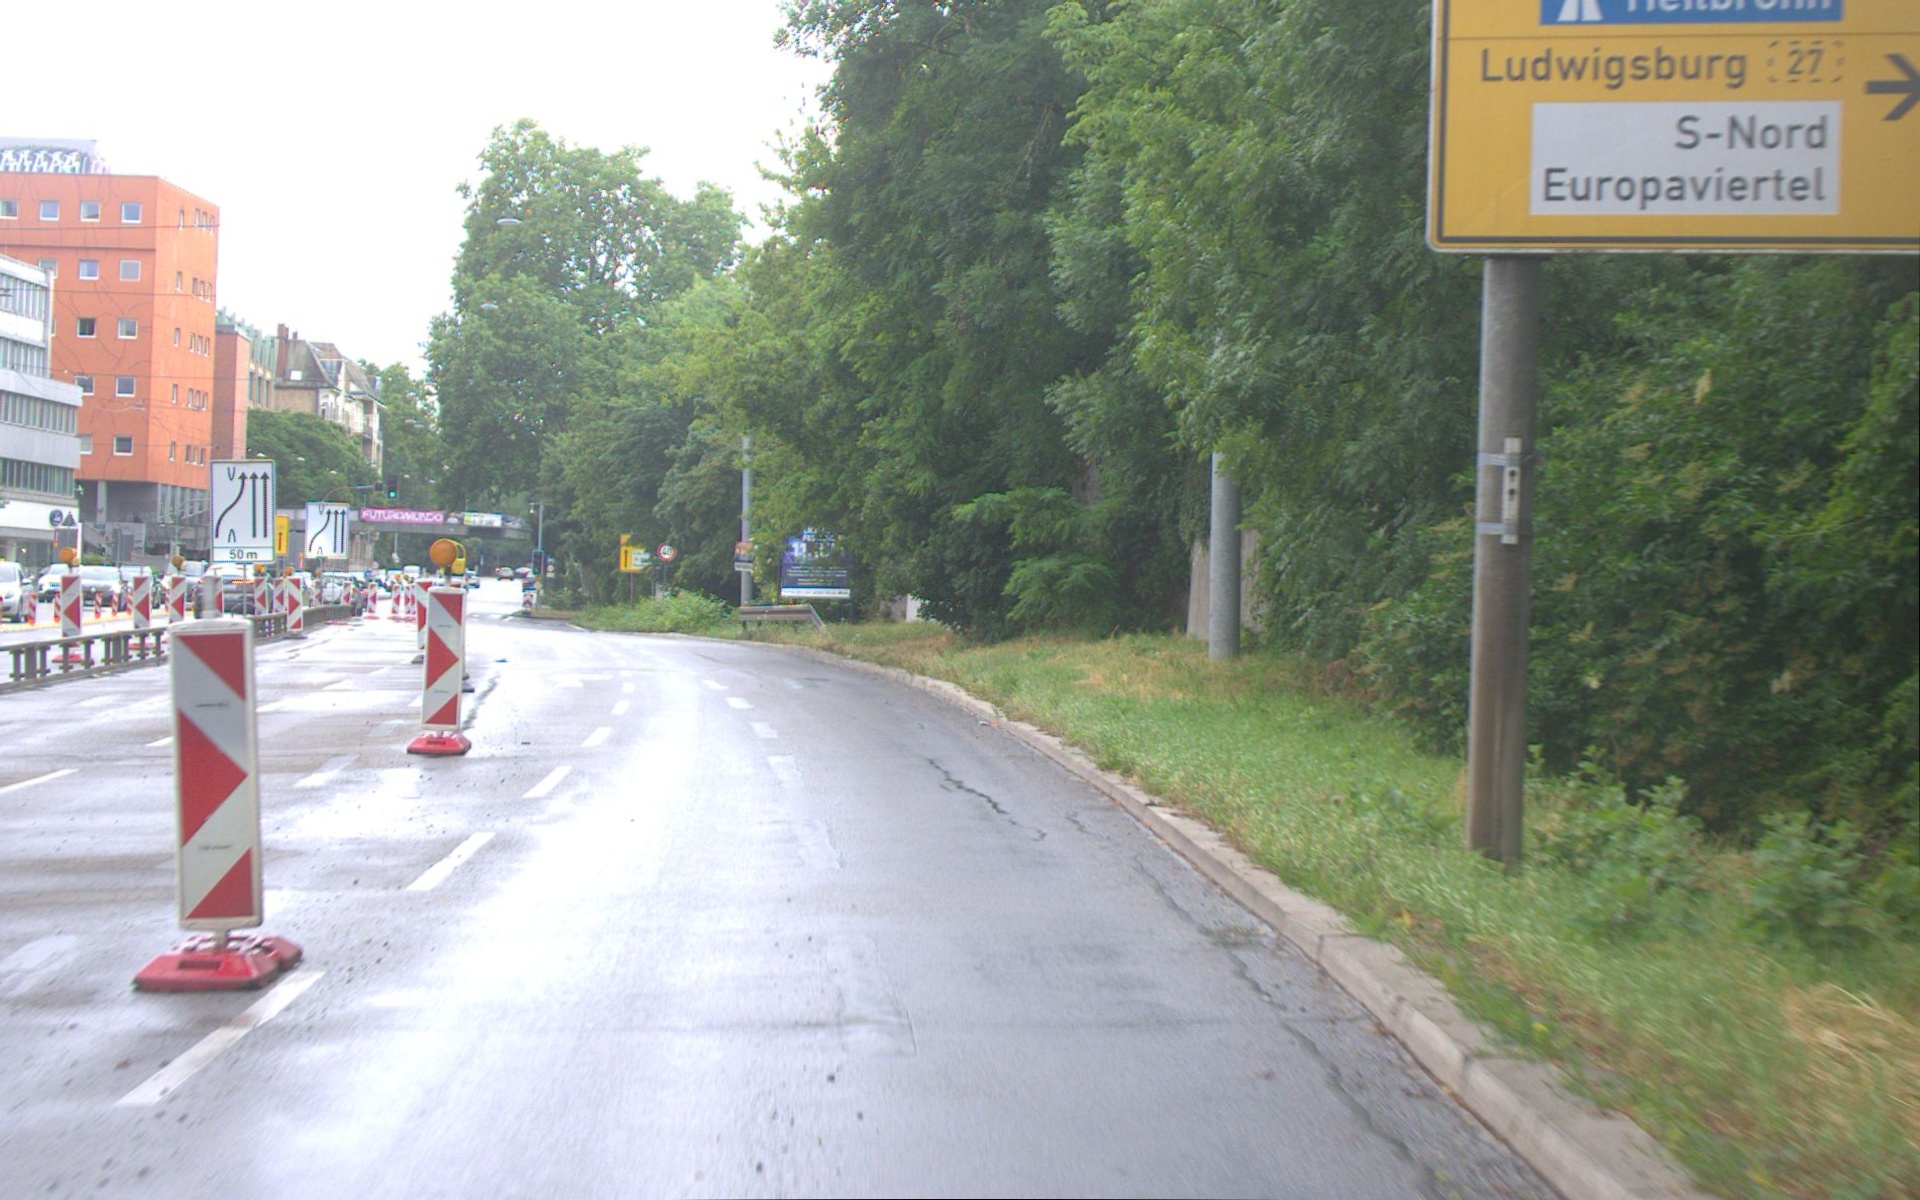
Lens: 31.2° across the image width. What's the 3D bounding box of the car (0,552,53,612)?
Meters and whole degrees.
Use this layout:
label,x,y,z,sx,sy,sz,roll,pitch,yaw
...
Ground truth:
label,x,y,z,sx,sy,sz,roll,pitch,yaw
car,-22.928,-0.453,82.168,1.779,1.376,4.457,0,1,-6
